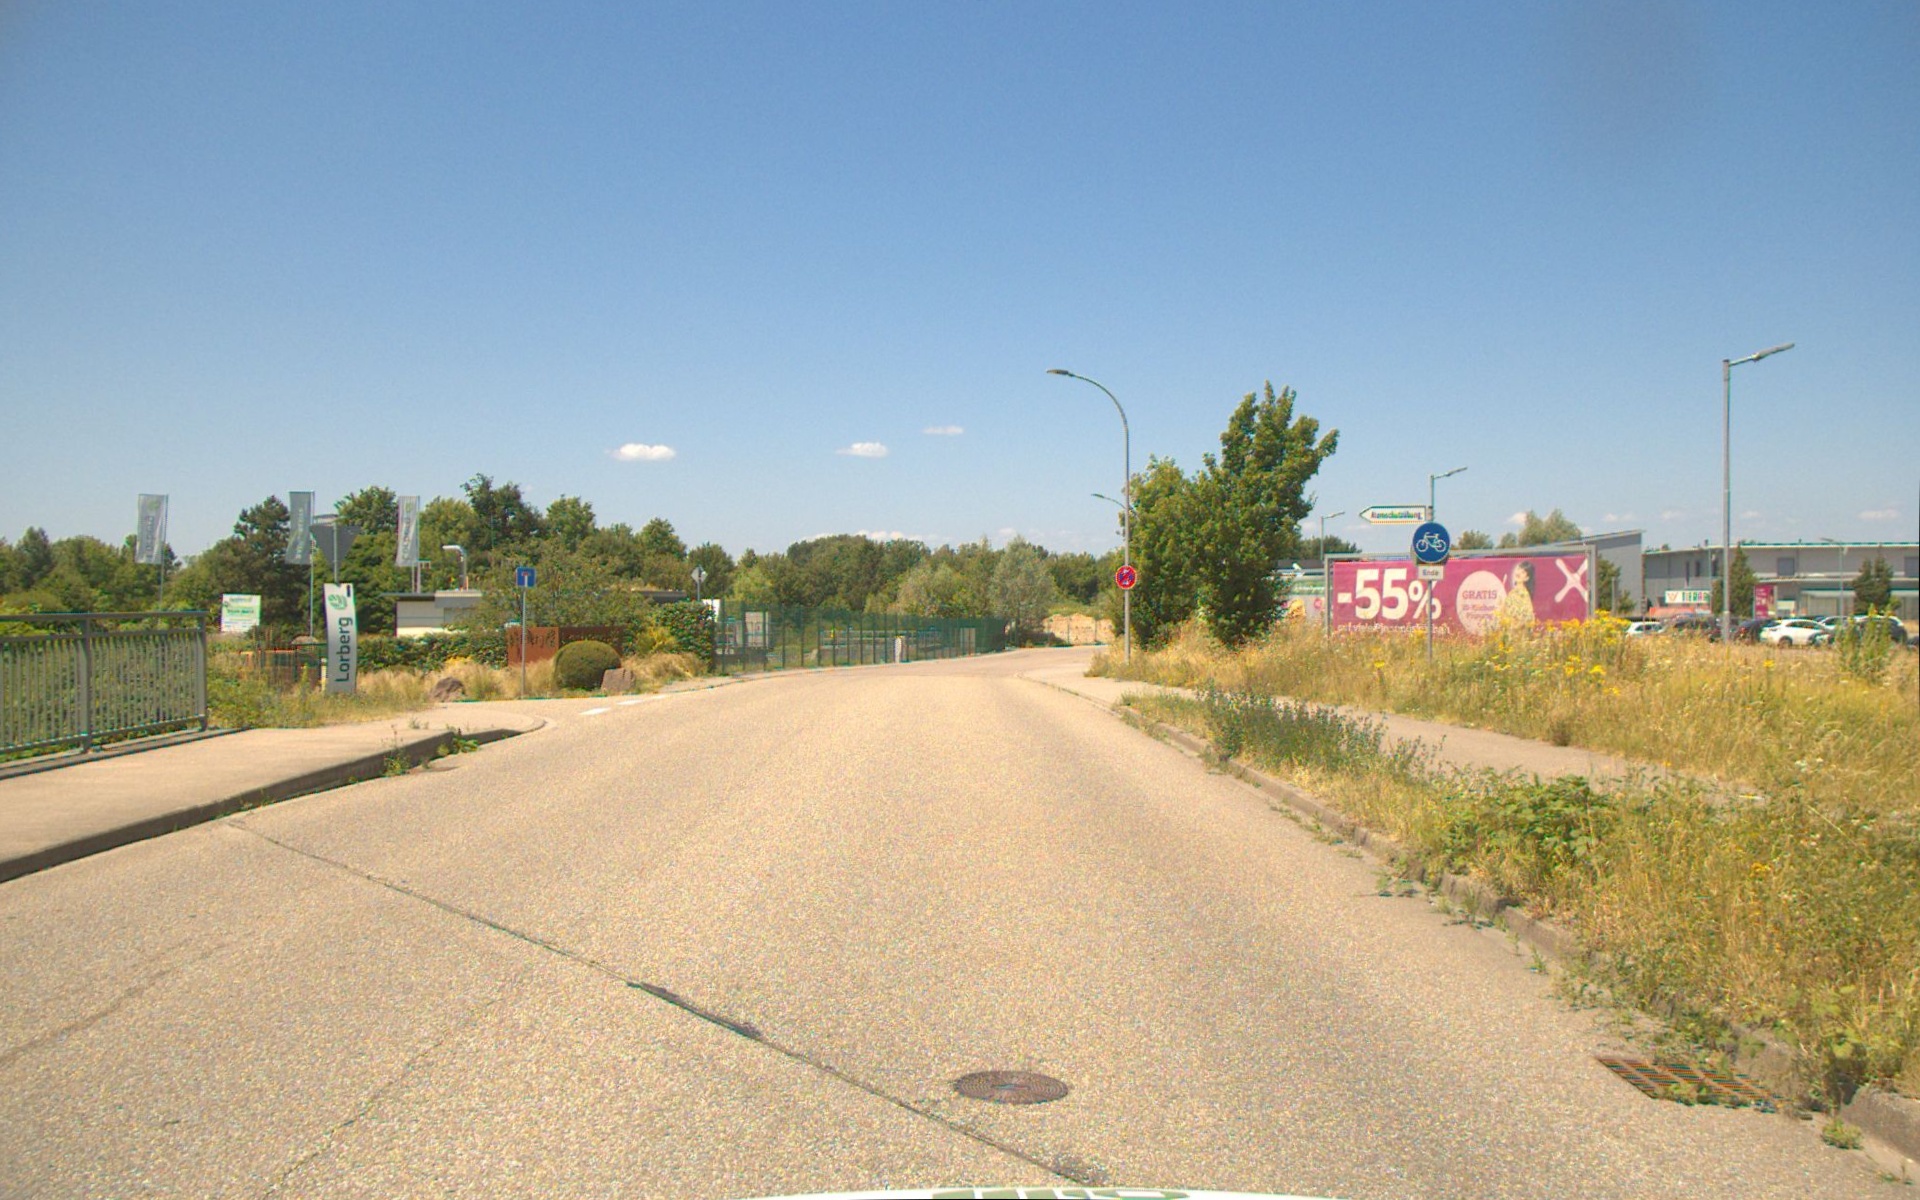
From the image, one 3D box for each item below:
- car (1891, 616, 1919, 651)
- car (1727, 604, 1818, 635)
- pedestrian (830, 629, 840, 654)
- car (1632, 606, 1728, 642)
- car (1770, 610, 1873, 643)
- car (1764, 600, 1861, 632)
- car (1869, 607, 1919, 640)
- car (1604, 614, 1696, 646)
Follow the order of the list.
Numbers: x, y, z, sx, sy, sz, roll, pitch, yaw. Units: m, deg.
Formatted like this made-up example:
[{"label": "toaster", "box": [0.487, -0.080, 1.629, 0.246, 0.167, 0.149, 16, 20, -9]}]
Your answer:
[{"label": "car", "box": [42.253, 1.415, 70.591, 3.904, 1.501, 2.000, -1, -2, 1]}, {"label": "car", "box": [43.693, 1.058, 89.024, 3.903, 1.546, 2.001, -1, -2, 4]}, {"label": "pedestrian", "box": [-9.306, 3.104, 122.954, 0.593, 1.871, 0.805, -1, -1, 7]}, {"label": "car", "box": [32.965, 1.103, 75.794, 3.656, 1.598, 1.892, 0, 0, 5]}, {"label": "car", "box": [41.498, 1.294, 79.744, 3.904, 1.546, 2.000, -1, -2, 1]}, {"label": "car", "box": [43.778, 0.836, 85.010, 3.903, 1.546, 2.001, -1, -2, 4]}, {"label": "car", "box": [46.096, 1.103, 79.282, 3.904, 1.546, 2.000, -1, -2, 1]}, {"label": "car", "box": [32.946, 1.423, 79.078, 3.656, 1.469, 1.944, 0, 0, 5]}]
